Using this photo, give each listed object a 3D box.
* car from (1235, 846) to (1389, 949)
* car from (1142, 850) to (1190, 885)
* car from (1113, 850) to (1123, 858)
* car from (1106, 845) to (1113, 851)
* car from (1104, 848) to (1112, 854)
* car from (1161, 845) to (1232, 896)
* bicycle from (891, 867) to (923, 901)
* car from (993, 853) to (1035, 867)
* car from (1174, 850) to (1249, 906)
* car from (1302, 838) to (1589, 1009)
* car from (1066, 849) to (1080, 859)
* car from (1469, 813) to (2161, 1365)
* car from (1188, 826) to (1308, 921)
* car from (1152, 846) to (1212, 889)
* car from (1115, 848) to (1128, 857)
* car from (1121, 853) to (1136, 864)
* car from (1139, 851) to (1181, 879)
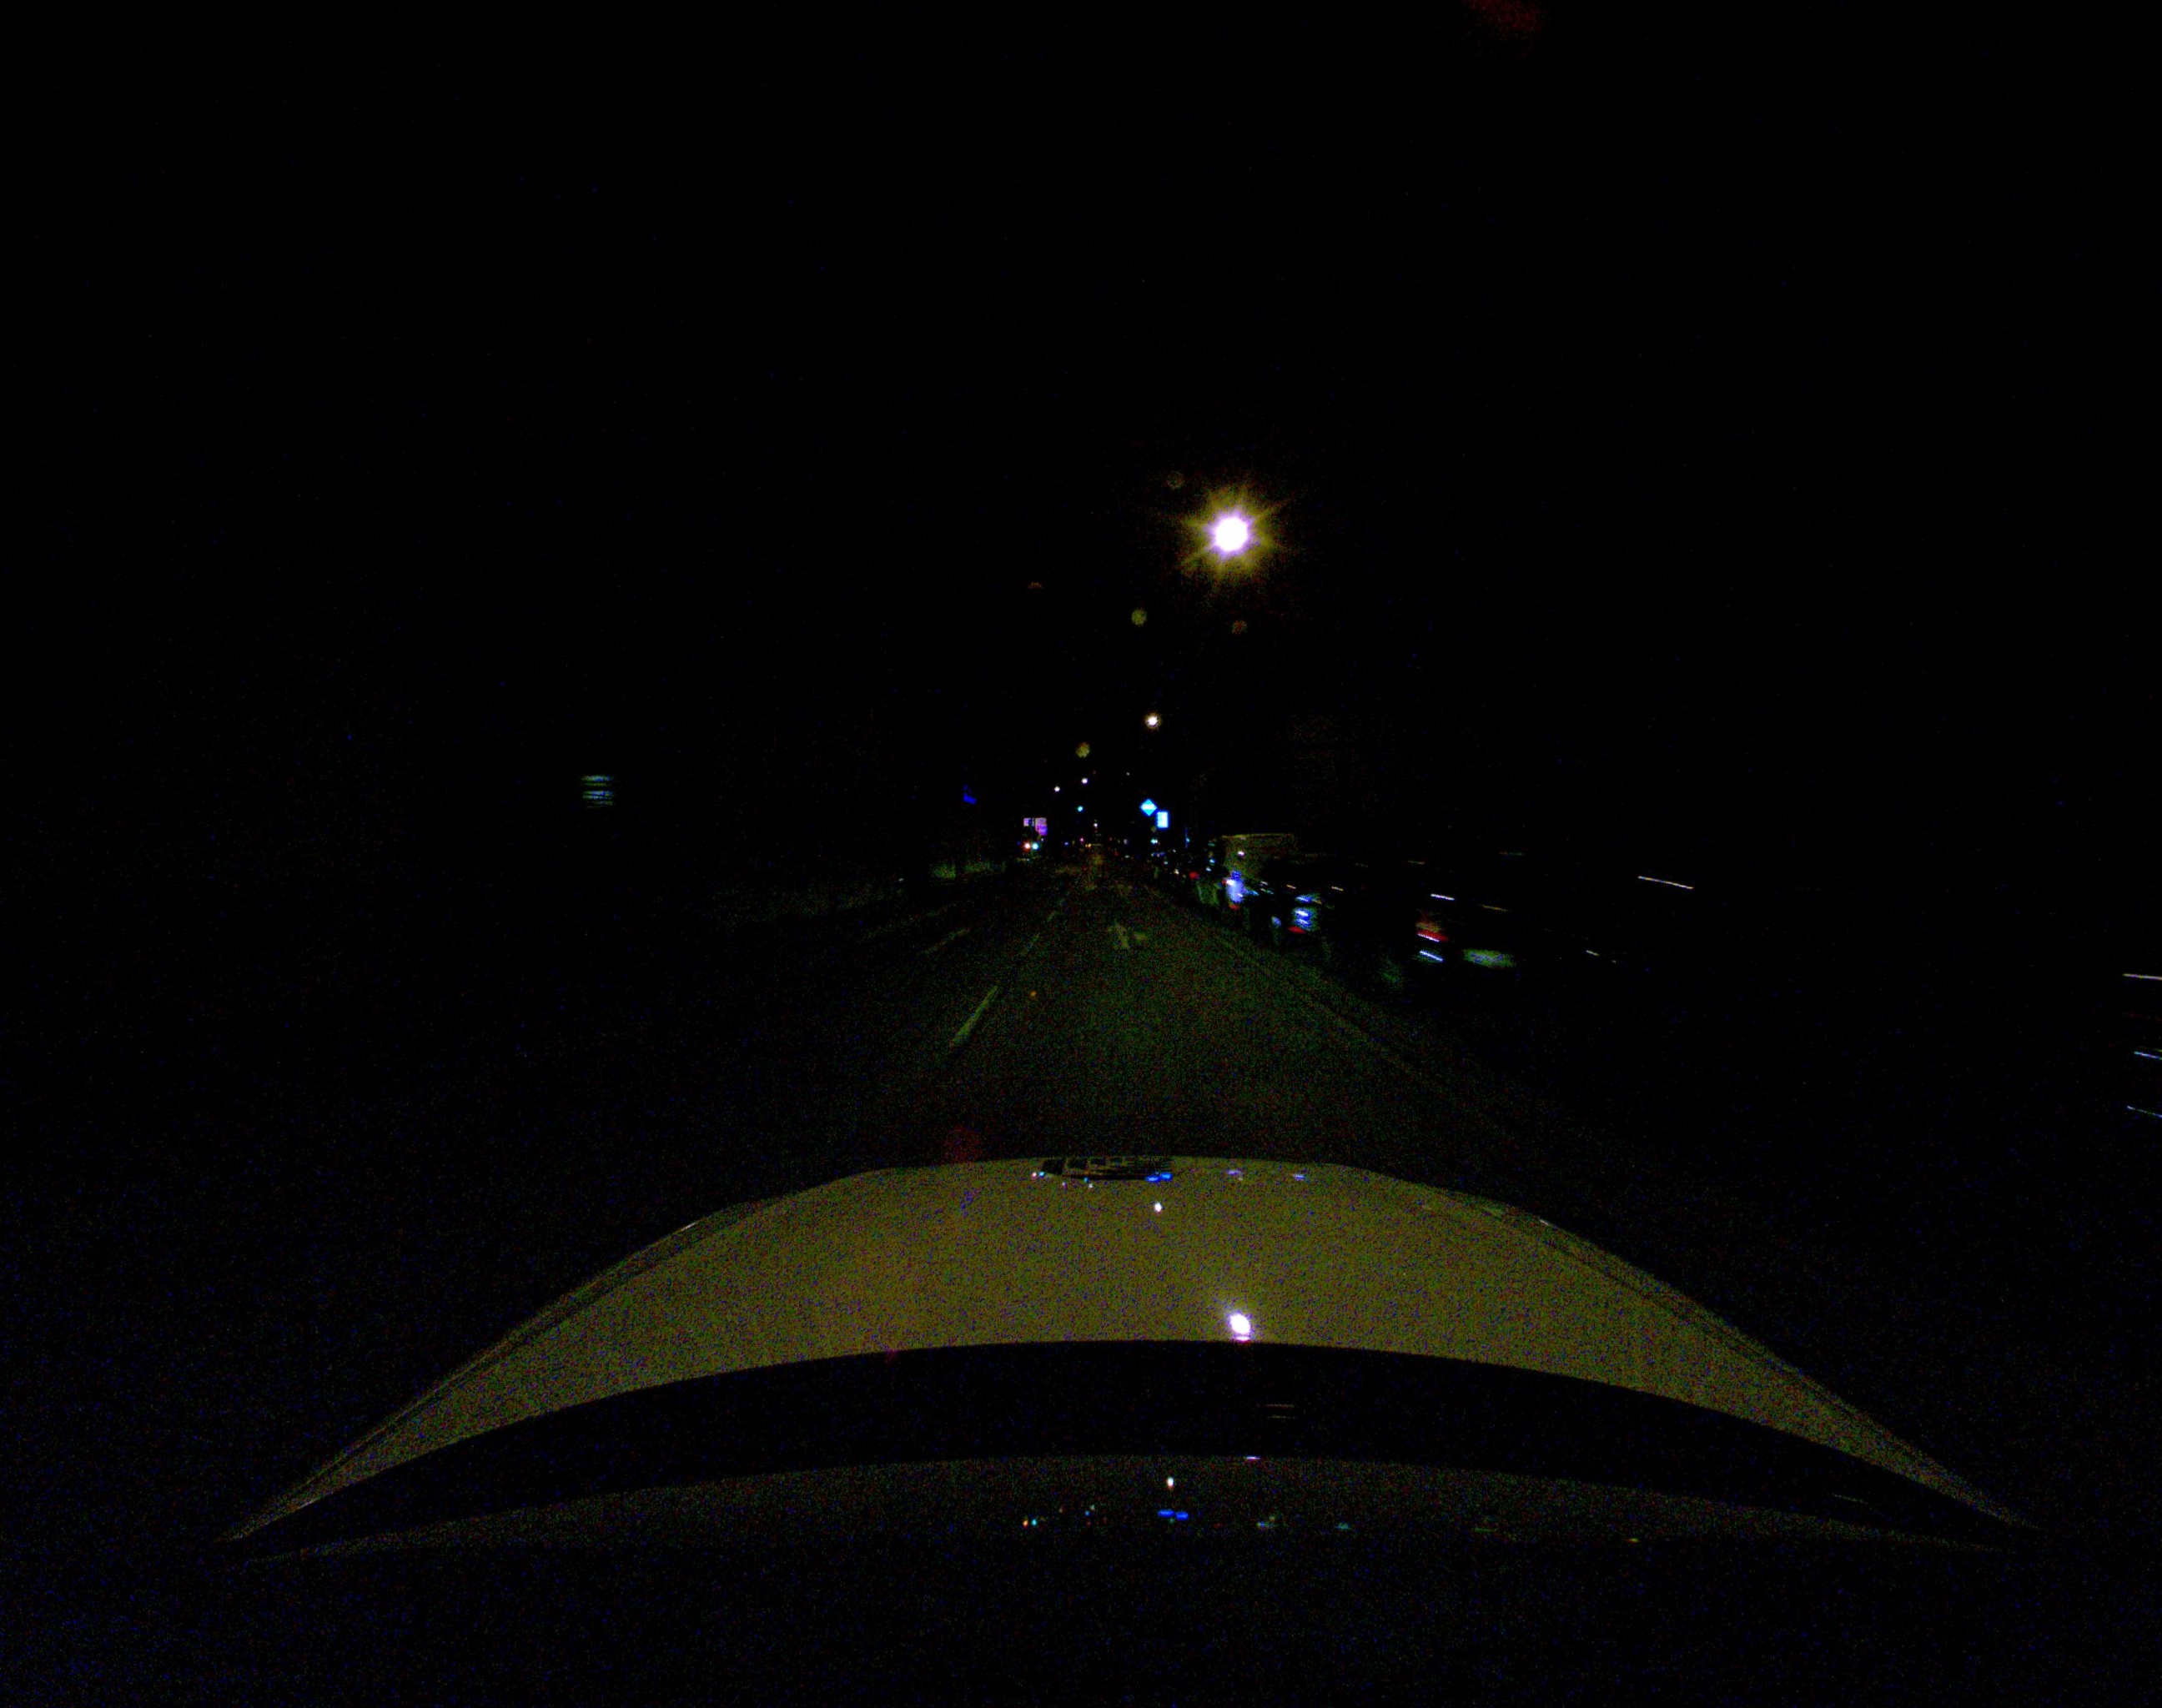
[{"bbox_3d":[3.733,0.643,13.795,1.589,1.467,3.893,-1,0,2],"label":"car"},{"bbox_3d":[4.110,0.637,39.876,1.770,1.544,4.544,-1,0,-1],"label":"car"},{"bbox_3d":[7.353,0.087,162.380,1.985,1.520,4.003,-1,0,3],"label":"car"},{"bbox_3d":[8.072,-1.735,233.464,1.985,1.520,4.003,-1,0,3],"label":"car"},{"bbox_3d":[7.075,-0.667,210.247,1.985,1.520,4.003,-1,0,3],"label":"car"},{"bbox_3d":[4.047,0.526,29.267,1.818,1.588,4.628,-2,0,0],"label":"car"},{"bbox_3d":[-5.739,0.964,26.907,0.617,1.051,1.722,-1,0,2],"label":"bicycle"},{"bbox_3d":[-7.368,0.711,90.275,4.424,1.449,2.000,-1,0,0],"label":"car"},{"bbox_3d":[3.784,0.635,24.246,1.808,1.427,4.194,-3,0,4],"label":"car"},{"bbox_3d":[3.701,0.619,9.011,1.589,1.467,3.720,-1,0,2],"label":"car"},{"bbox_3d":[-1.283,0.021,132.600,1.986,1.502,4.001,-1,0,1],"label":"car"},{"bbox_3d":[3.687,0.600,3.949,1.773,1.426,3.892,-1,0,0],"label":"car"},{"bbox_3d":[3.773,0.377,19.301,1.794,1.875,4.773,-3,0,0],"label":"car"},{"bbox_3d":[4.155,0.501,34.160,1.818,1.623,4.456,-2,0,-1],"label":"car"},{"bbox_3d":[6.857,-0.215,137.847,1.985,1.520,4.003,-1,0,3],"label":"car"},{"bbox_3d":[6.624,0.629,114.215,1.985,1.516,4.003,0,0,3],"label":"car"},{"bbox_3d":[4.418,0.629,46.383,1.854,1.489,4.544,-1,0,-1],"label":"car"}]
